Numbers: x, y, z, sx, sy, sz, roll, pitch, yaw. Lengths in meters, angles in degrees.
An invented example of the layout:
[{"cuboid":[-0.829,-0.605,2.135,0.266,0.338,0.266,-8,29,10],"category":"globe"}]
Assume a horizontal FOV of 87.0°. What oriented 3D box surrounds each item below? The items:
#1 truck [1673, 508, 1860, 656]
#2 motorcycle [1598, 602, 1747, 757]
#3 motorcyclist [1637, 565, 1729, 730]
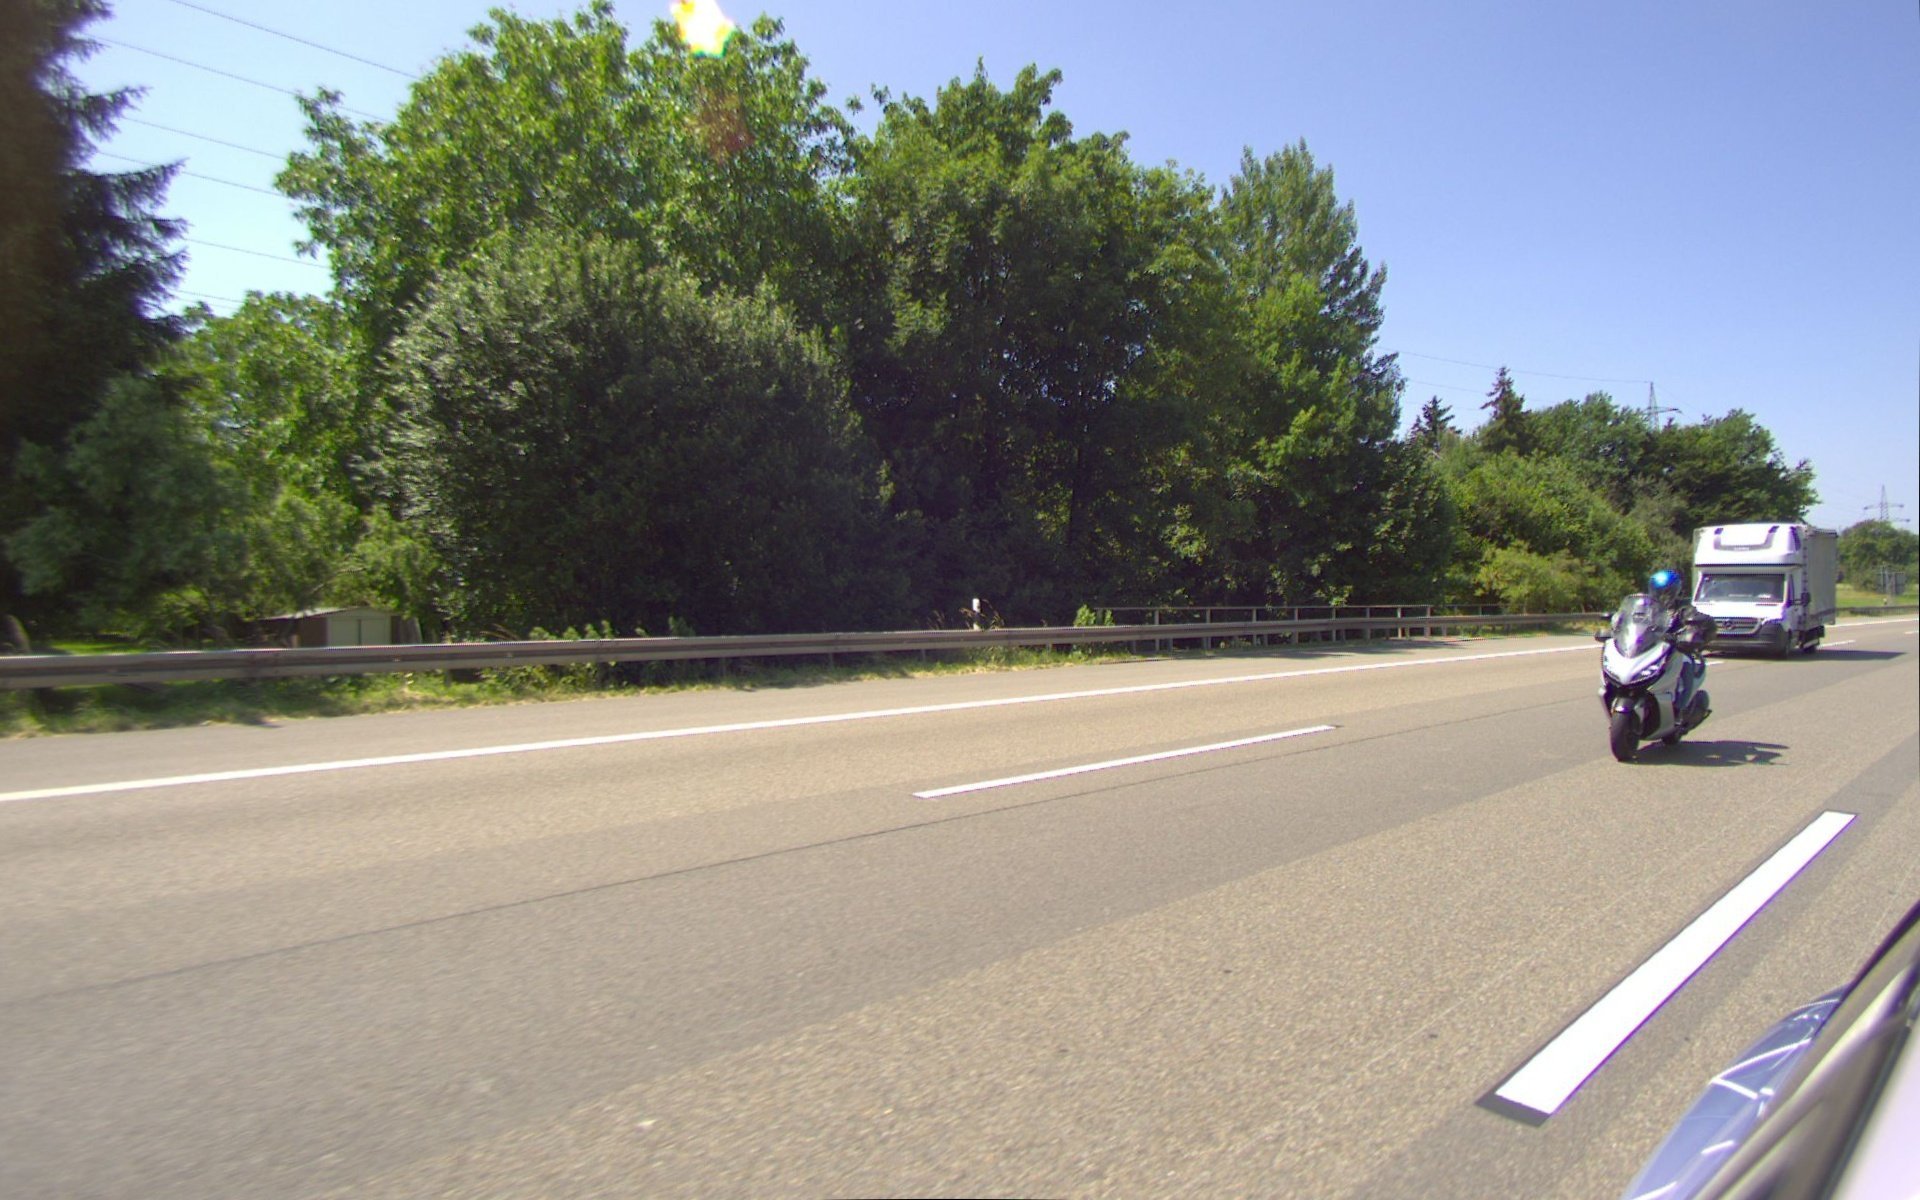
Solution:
[{"cuboid":[21.206,-0.445,26.410,7.968,3.328,2.510,0,1,-42],"category":"truck"},{"cuboid":[6.800,0.680,9.611,2.272,1.303,0.630,0,0,-41],"category":"motorcycle"},{"cuboid":[6.941,0.434,9.717,0.504,1.527,0.613,0,0,-40],"category":"motorcyclist"}]
